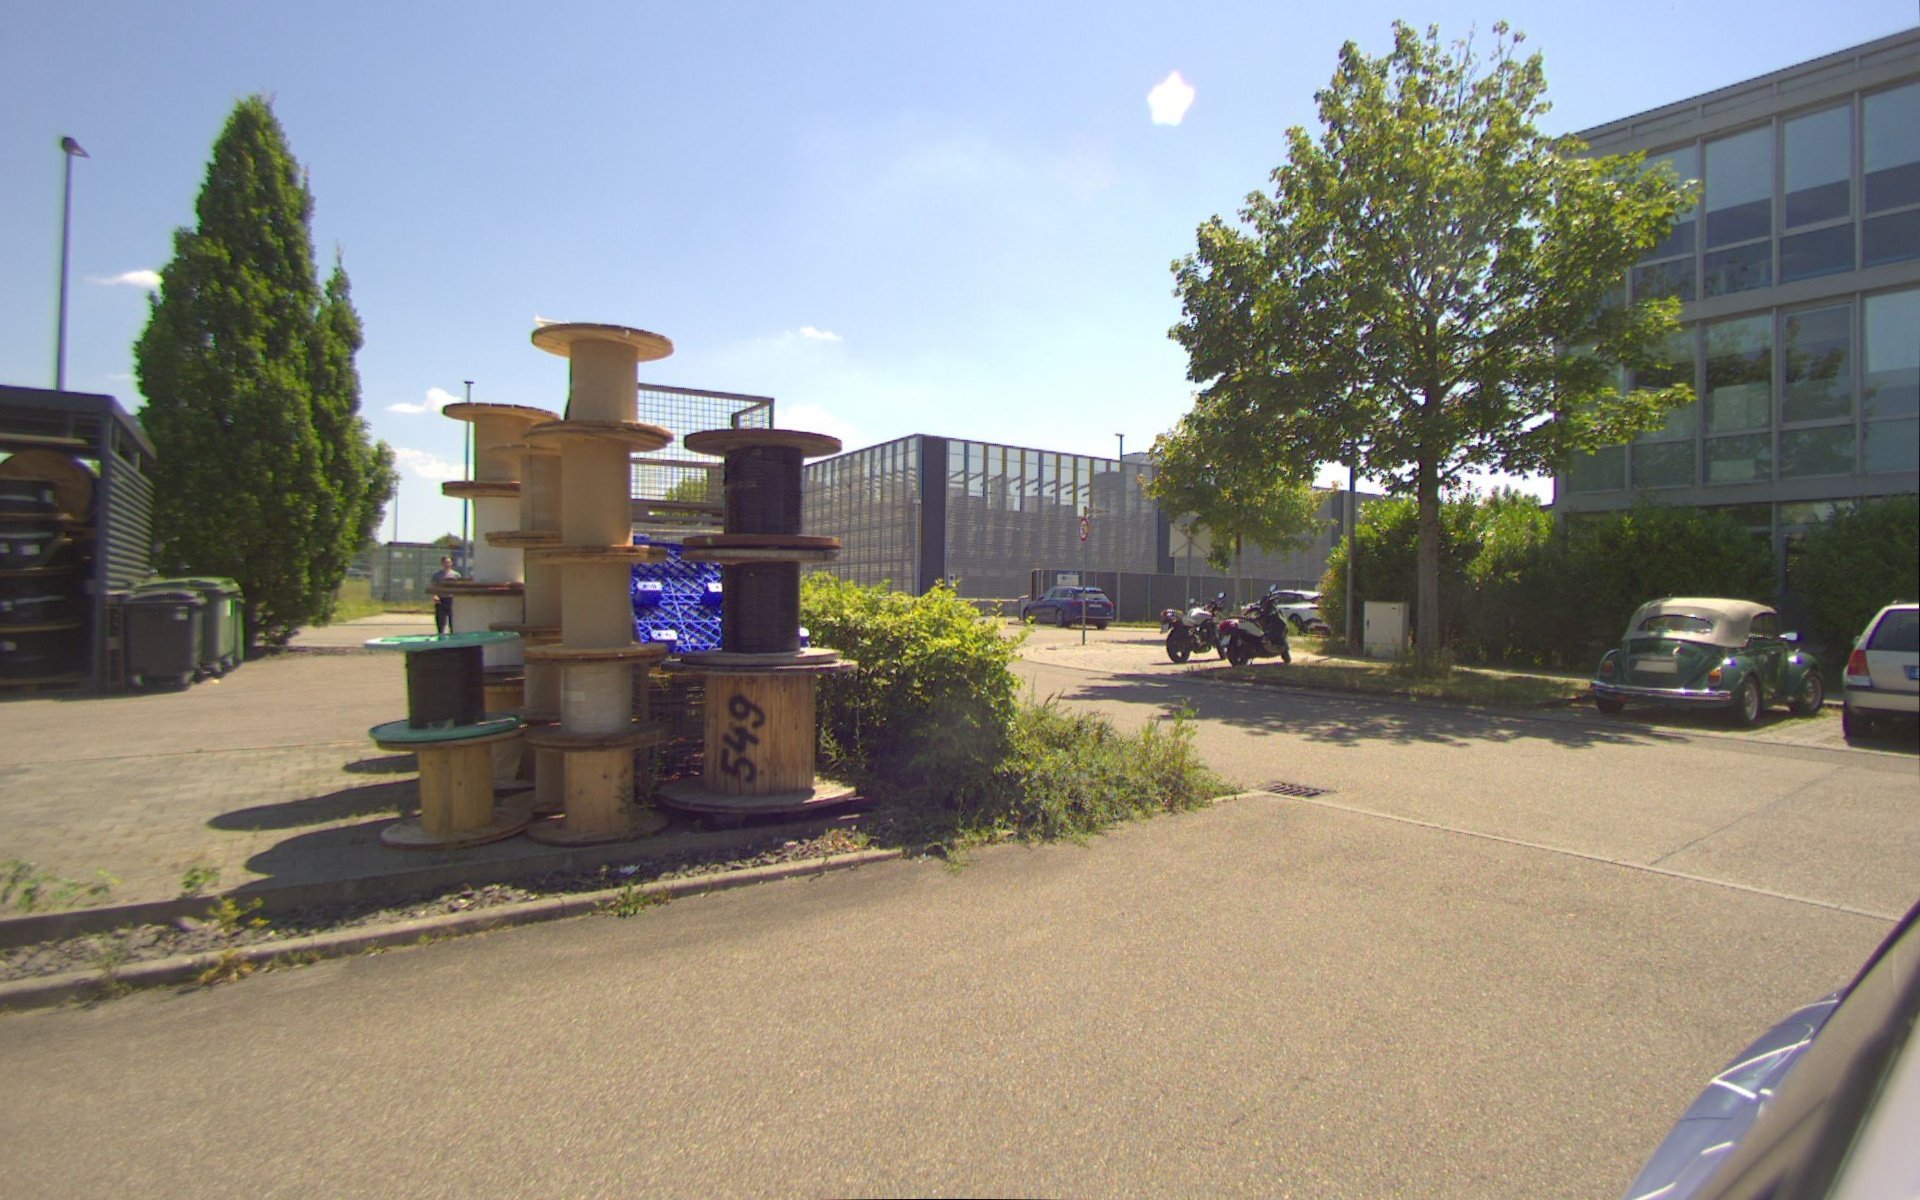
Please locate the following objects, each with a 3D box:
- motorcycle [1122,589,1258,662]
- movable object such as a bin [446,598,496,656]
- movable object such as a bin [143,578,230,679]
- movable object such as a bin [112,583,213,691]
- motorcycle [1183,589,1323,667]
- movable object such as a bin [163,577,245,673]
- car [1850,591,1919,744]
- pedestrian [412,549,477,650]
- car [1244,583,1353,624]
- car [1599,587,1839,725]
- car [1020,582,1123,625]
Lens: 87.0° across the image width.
[{"bbox_3d":[4.379,0.439,19.132,2.782,1.275,0.874,0,1,-36],"label":"motorcycle"},{"bbox_3d":[-8.217,0.439,17.010,0.581,0.929,0.541,1,1,32],"label":"movable object such as a bin"},{"bbox_3d":[-10.401,0.359,13.639,0.785,1.314,0.757,0,1,-25],"label":"movable object such as a bin"},{"bbox_3d":[-9.817,0.431,12.494,0.785,1.265,0.878,0,1,-25],"label":"movable object such as a bin"},{"bbox_3d":[5.286,0.459,18.140,2.782,1.275,0.874,0,1,-36],"label":"motorcycle"},{"bbox_3d":[-10.756,0.329,14.426,0.785,1.314,0.811,0,1,-25],"label":"movable object such as a bin"},{"bbox_3d":[10.939,0.671,10.829,3.538,1.470,1.641,-1,2,-41],"label":"car"},{"bbox_3d":[-9.383,-0.010,18.453,0.793,1.791,0.769,1,1,-3],"label":"pedestrian"},{"bbox_3d":[13.056,0.097,39.348,1.743,1.494,4.425,1,1,-18],"label":"car"},{"bbox_3d":[9.528,0.587,12.637,3.356,1.463,1.522,0,2,-37],"label":"car"},{"bbox_3d":[3.898,0.093,36.195,1.820,1.427,4.456,1,1,-20],"label":"car"}]
